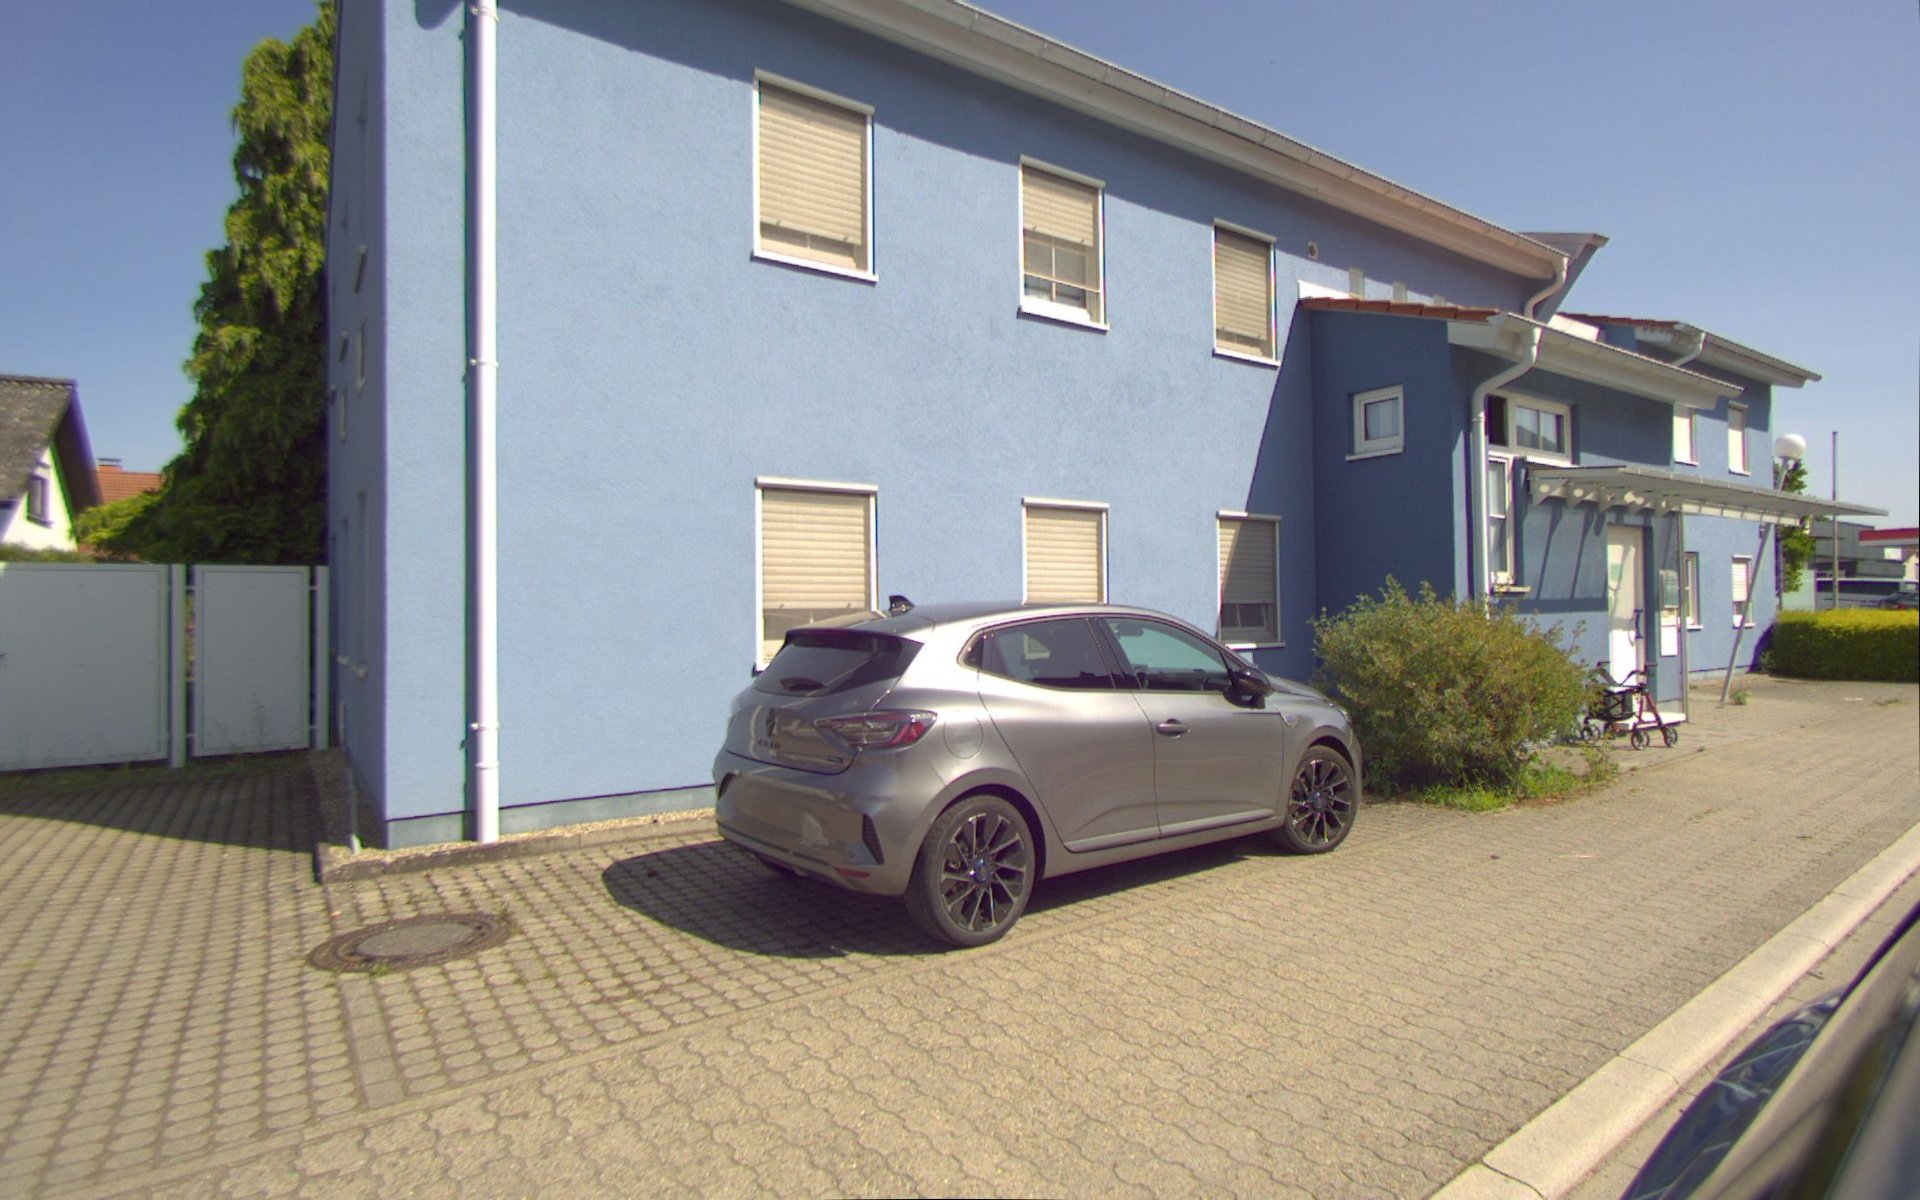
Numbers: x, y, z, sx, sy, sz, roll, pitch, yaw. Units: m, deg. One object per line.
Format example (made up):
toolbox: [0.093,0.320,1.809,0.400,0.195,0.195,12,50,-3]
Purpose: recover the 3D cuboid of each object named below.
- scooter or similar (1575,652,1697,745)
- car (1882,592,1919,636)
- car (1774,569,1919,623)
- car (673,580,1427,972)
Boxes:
scooter or similar: [6.738,0.957,10.096,0.811,0.825,0.730,-1,0,-32]
car: [36.121,0.485,36.163,4.277,1.570,1.965,0,0,28]
car: [36.086,-0.153,40.634,5.259,2.039,2.201,0,0,39]
car: [0.692,0.641,5.635,4.068,1.438,1.694,-1,-1,-36]
